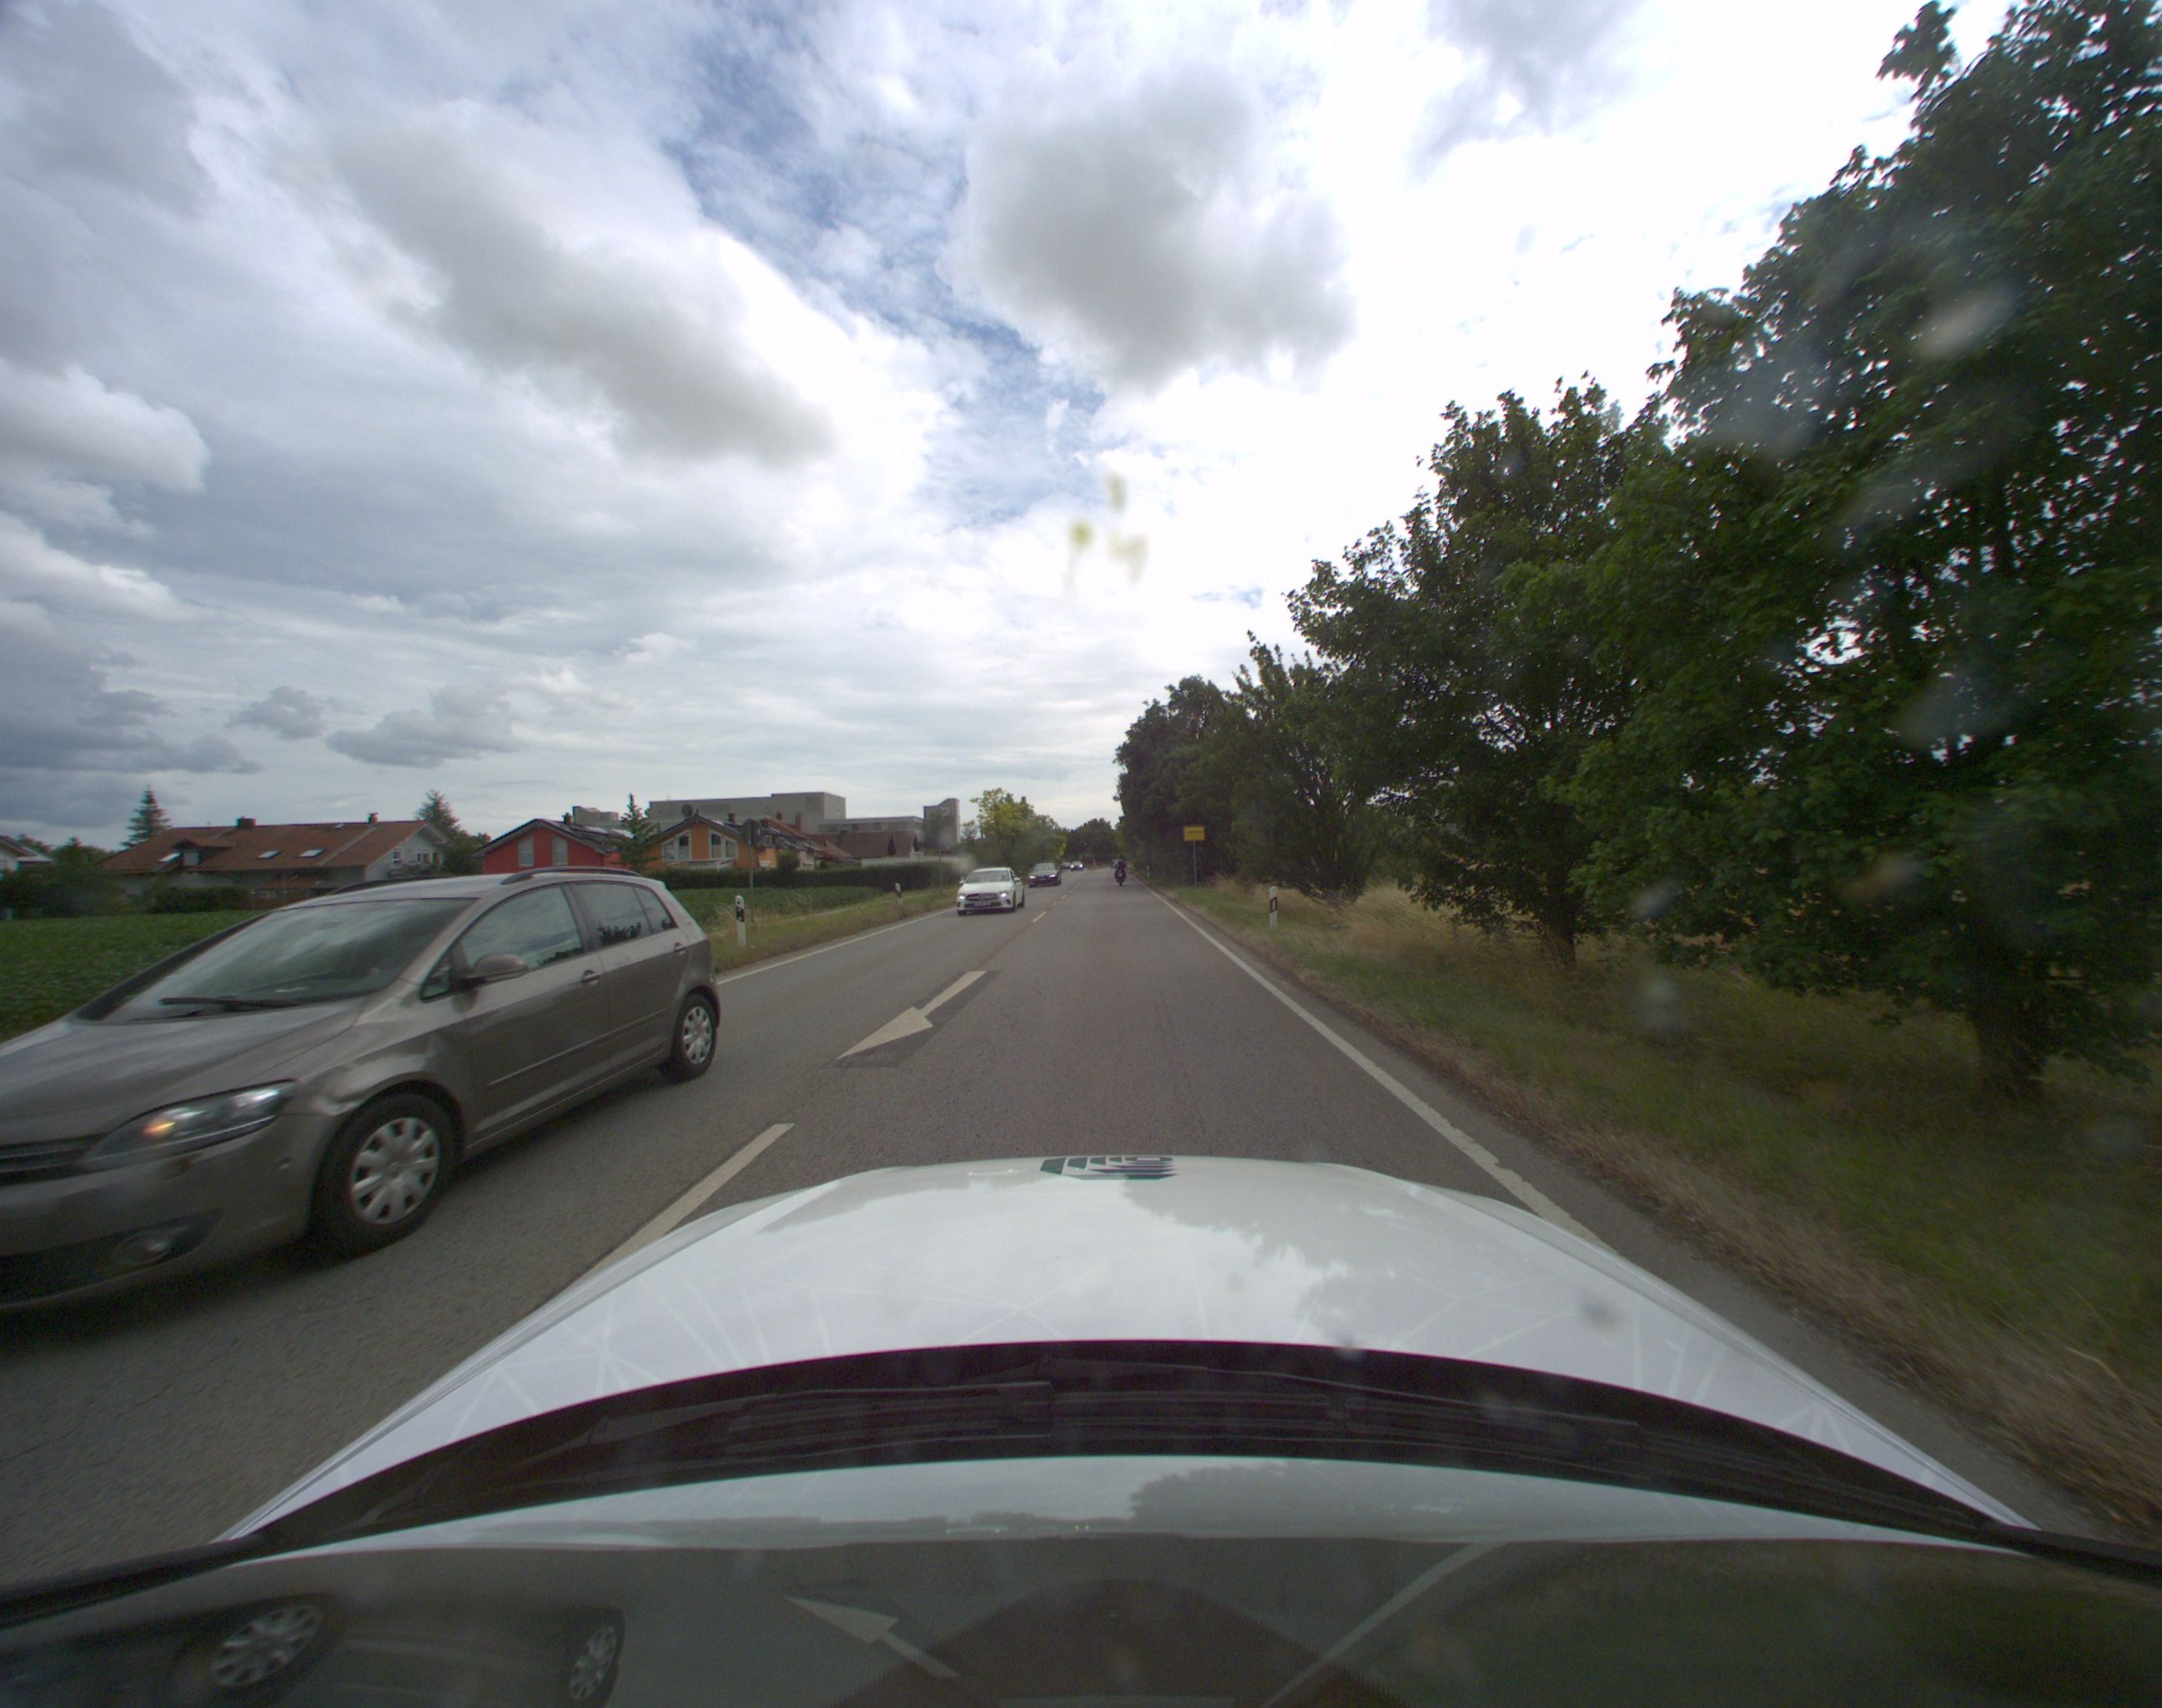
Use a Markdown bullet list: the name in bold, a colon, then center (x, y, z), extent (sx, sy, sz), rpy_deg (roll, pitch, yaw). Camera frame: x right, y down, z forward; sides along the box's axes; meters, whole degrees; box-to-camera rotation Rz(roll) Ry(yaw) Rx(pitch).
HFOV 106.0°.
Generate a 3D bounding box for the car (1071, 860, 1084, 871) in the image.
- **car**: center (-0.514, 1.731, 123.016), extent (1.809, 1.494, 4.205), rpy_deg (-3, -1, 1)

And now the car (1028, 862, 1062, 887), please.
- **car**: center (-2.266, 1.281, 52.329), extent (1.846, 1.464, 4.372), rpy_deg (-3, -1, 1)

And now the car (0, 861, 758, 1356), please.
- **car**: center (-3.686, 0.864, 4.753), extent (1.698, 1.540, 4.302), rpy_deg (-4, -1, 1)

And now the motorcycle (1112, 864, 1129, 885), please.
- **motorcycle**: center (2.291, 1.176, 47.226), extent (0.893, 1.158, 2.621), rpy_deg (-2, -1, 2)

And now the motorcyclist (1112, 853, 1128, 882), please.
- **motorcyclist**: center (2.272, 0.770, 47.330), extent (0.858, 1.623, 1.191), rpy_deg (-2, -1, 1)

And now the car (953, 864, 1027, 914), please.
- **car**: center (-2.875, 1.069, 26.542), extent (1.766, 1.373, 4.101), rpy_deg (-4, -1, 2)

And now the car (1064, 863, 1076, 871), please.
- **car**: center (-2.039, 2.422, 151.618), extent (1.675, 1.411, 4.001), rpy_deg (-4, -1, -8)
